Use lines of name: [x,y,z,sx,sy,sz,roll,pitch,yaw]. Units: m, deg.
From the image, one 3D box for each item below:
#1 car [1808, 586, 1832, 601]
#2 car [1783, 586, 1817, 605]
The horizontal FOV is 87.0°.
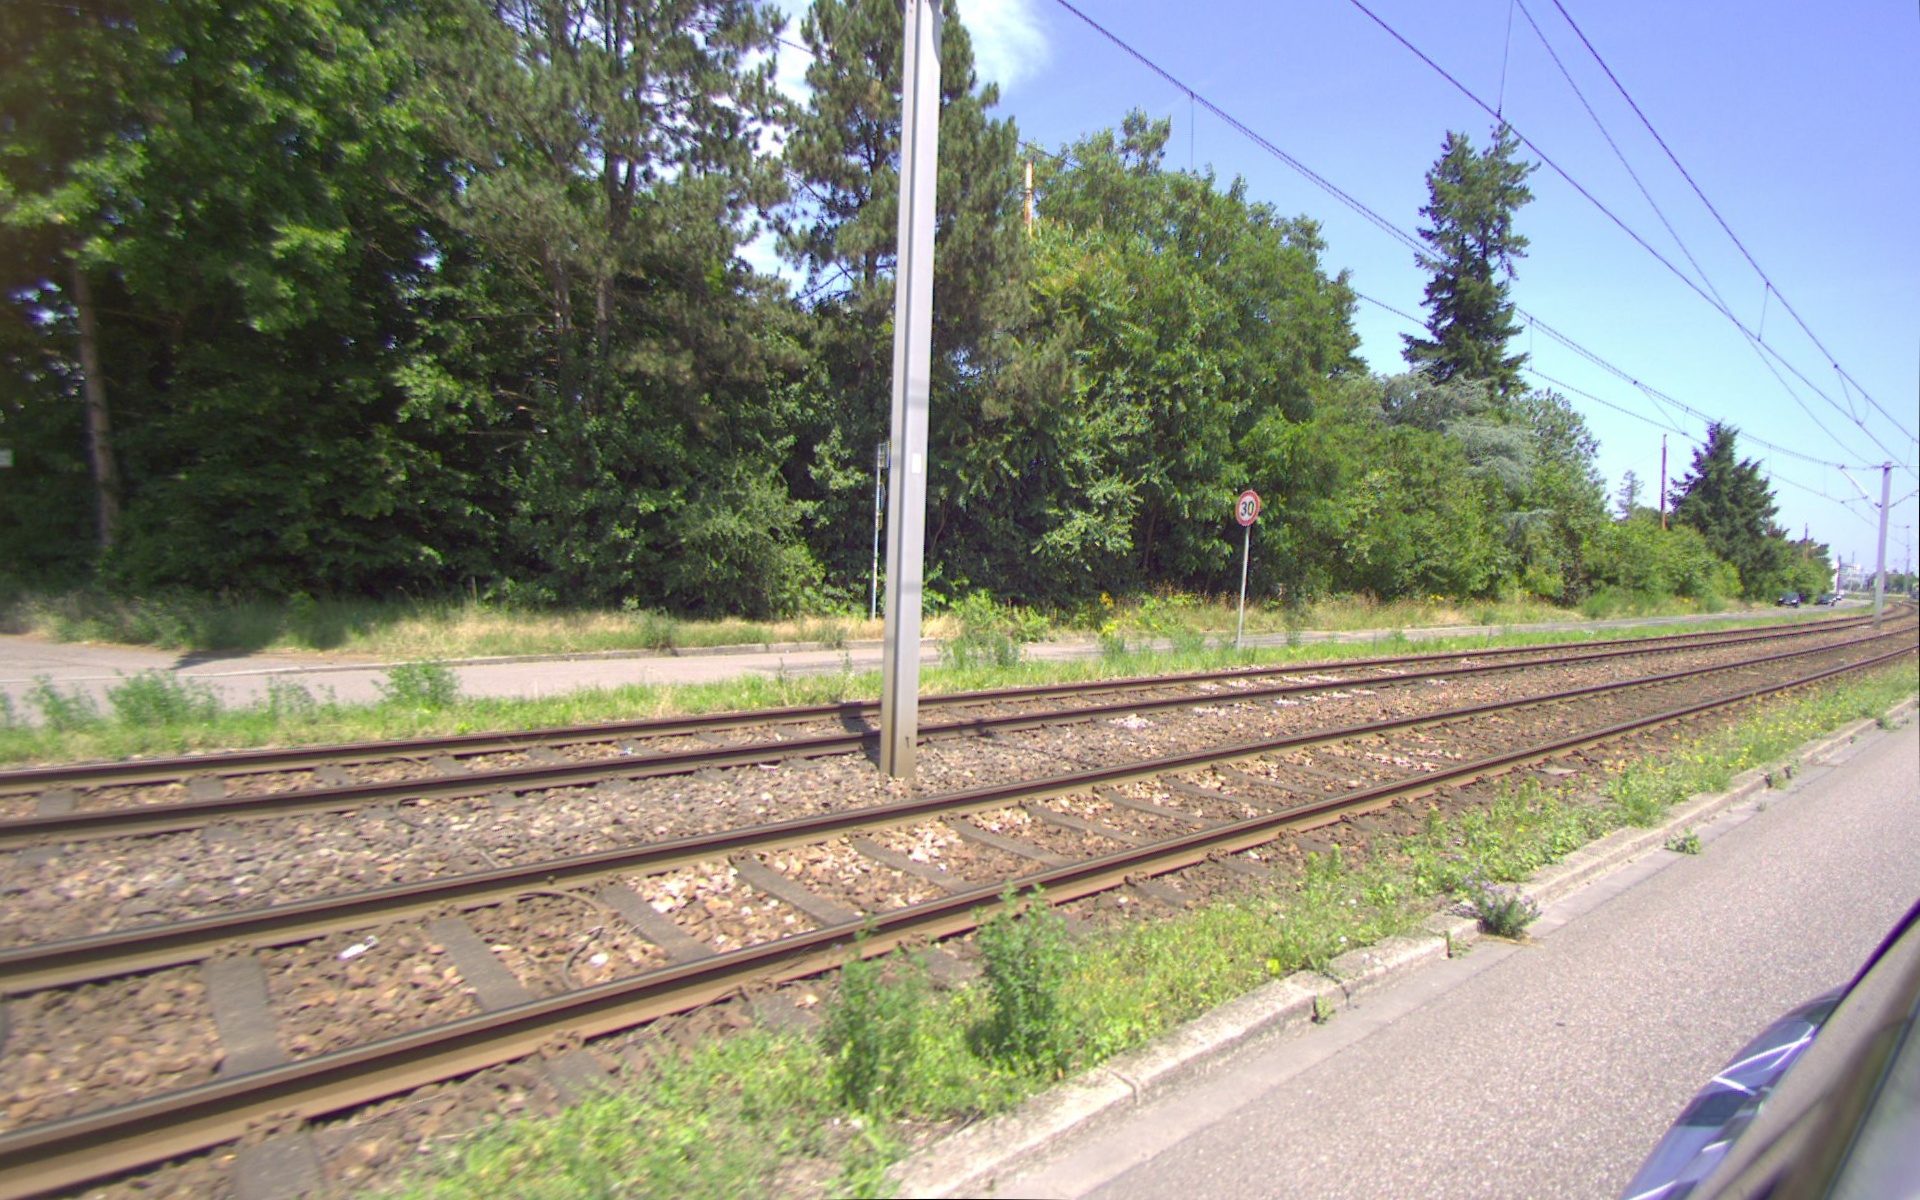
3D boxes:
car: [100.880,-0.802,118.703,1.941,1.716,3.938,0,0,43]
car: [80.759,-0.460,97.291,3.932,1.742,1.996,-1,0,-42]
